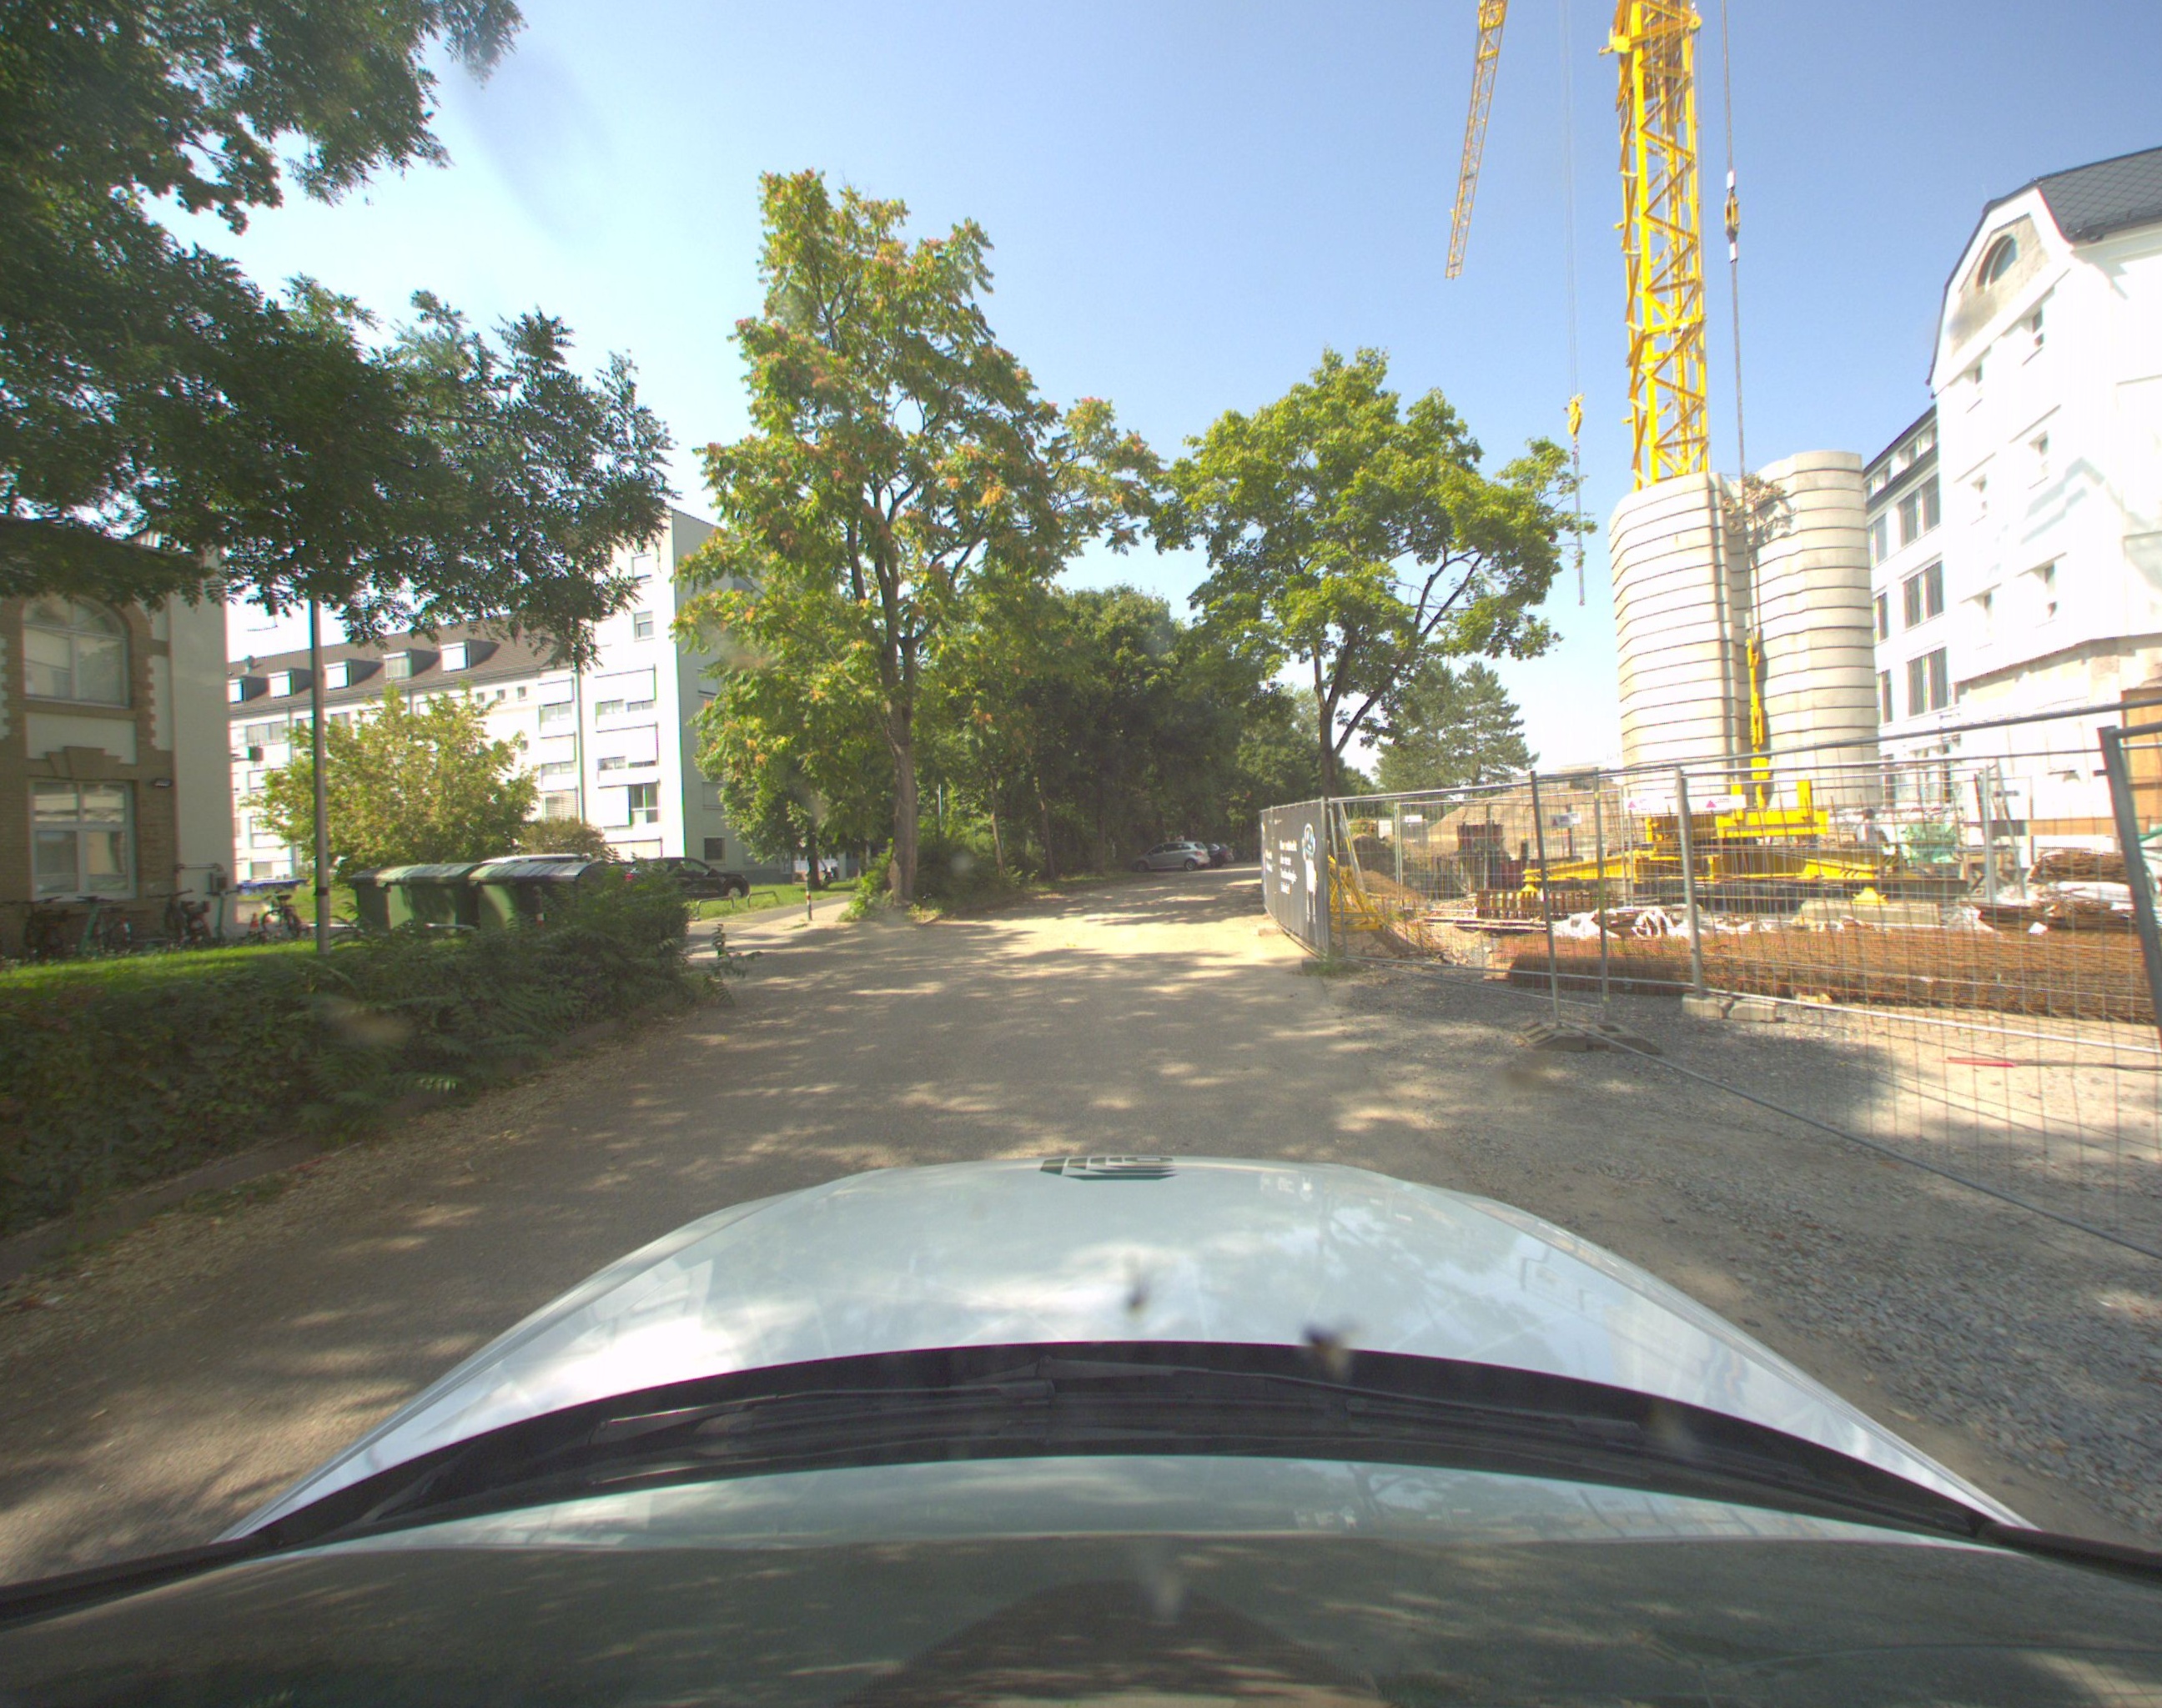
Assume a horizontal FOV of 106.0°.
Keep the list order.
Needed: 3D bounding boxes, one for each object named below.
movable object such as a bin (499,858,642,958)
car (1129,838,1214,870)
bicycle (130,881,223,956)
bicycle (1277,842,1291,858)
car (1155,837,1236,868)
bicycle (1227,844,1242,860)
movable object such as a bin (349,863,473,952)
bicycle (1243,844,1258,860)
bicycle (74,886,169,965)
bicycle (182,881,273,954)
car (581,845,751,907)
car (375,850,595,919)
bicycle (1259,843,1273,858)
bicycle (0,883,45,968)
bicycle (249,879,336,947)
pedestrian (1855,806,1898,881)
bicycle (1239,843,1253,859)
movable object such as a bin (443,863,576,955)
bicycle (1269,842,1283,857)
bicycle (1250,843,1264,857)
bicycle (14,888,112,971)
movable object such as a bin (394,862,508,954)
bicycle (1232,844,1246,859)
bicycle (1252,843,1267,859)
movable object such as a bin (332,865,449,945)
[{"bbox_3d":[-8.196,0.838,13.154,1.360,1.493,1.340,-1,0,10],"label":"movable object such as a bin"},{"bbox_3d":[4.899,-0.019,44.212,4.109,1.612,2.012,-1,1,25],"label":"car"},{"bbox_3d":[-16.915,1.207,15.217,2.146,1.302,0.613,-3,0,28],"label":"bicycle"},{"bbox_3d":[14.907,-0.274,59.746,0.494,1.107,1.811,-1,1,29],"label":"bicycle"},{"bbox_3d":[6.529,-0.092,46.340,4.109,1.612,2.012,-1,1,25],"label":"car"},{"bbox_3d":[11.200,-0.159,59.226,0.494,1.107,1.811,-1,1,29],"label":"bicycle"},{"bbox_3d":[-12.082,0.932,14.722,1.193,1.495,1.256,-1,0,18],"label":"movable object such as a bin"},{"bbox_3d":[12.281,-0.179,59.037,0.494,1.107,1.811,-1,1,29],"label":"bicycle"},{"bbox_3d":[-17.211,1.271,14.591,2.146,1.302,0.613,-3,0,28],"label":"bicycle"},{"bbox_3d":[-16.603,1.231,15.832,2.146,1.302,0.613,-3,0,28],"label":"bicycle"},{"bbox_3d":[-11.639,0.576,23.099,1.685,1.527,3.937,-2,1,31],"label":"car"},{"bbox_3d":[-19.053,0.908,26.365,2.471,1.881,5.115,-2,1,27],"label":"car"},{"bbox_3d":[13.812,-0.251,60.830,0.494,1.107,1.811,-1,1,29],"label":"bicycle"},{"bbox_3d":[-17.836,1.174,13.362,2.146,1.302,0.613,-3,0,28],"label":"bicycle"},{"bbox_3d":[-16.253,1.213,16.775,2.146,1.302,0.613,-3,0,28],"label":"bicycle"},{"bbox_3d":[16.620,-0.225,17.024,0.517,1.528,0.498,-2,0,33],"label":"pedestrian"},{"bbox_3d":[12.373,-0.220,61.048,0.494,1.107,1.811,-1,1,29],"label":"bicycle"},{"bbox_3d":[-9.641,0.903,13.780,1.317,1.431,1.256,-1,0,18],"label":"movable object such as a bin"},{"bbox_3d":[15.207,-0.340,63.496,0.494,1.107,1.811,-1,1,29],"label":"bicycle"},{"bbox_3d":[13.968,-0.323,64.566,0.494,1.107,1.811,-1,1,29],"label":"bicycle"},{"bbox_3d":[-17.428,1.274,13.929,2.146,1.302,0.613,-3,0,28],"label":"bicycle"},{"bbox_3d":[-10.845,0.908,14.049,1.089,1.481,1.106,-1,0,18],"label":"movable object such as a bin"},{"bbox_3d":[11.880,-0.196,61.259,0.494,1.107,1.811,-1,1,29],"label":"bicycle"},{"bbox_3d":[12.801,-0.214,58.372,0.494,1.107,1.811,-1,1,29],"label":"bicycle"},{"bbox_3d":[-13.429,0.974,15.869,1.193,1.444,1.256,-1,0,18],"label":"movable object such as a bin"}]
